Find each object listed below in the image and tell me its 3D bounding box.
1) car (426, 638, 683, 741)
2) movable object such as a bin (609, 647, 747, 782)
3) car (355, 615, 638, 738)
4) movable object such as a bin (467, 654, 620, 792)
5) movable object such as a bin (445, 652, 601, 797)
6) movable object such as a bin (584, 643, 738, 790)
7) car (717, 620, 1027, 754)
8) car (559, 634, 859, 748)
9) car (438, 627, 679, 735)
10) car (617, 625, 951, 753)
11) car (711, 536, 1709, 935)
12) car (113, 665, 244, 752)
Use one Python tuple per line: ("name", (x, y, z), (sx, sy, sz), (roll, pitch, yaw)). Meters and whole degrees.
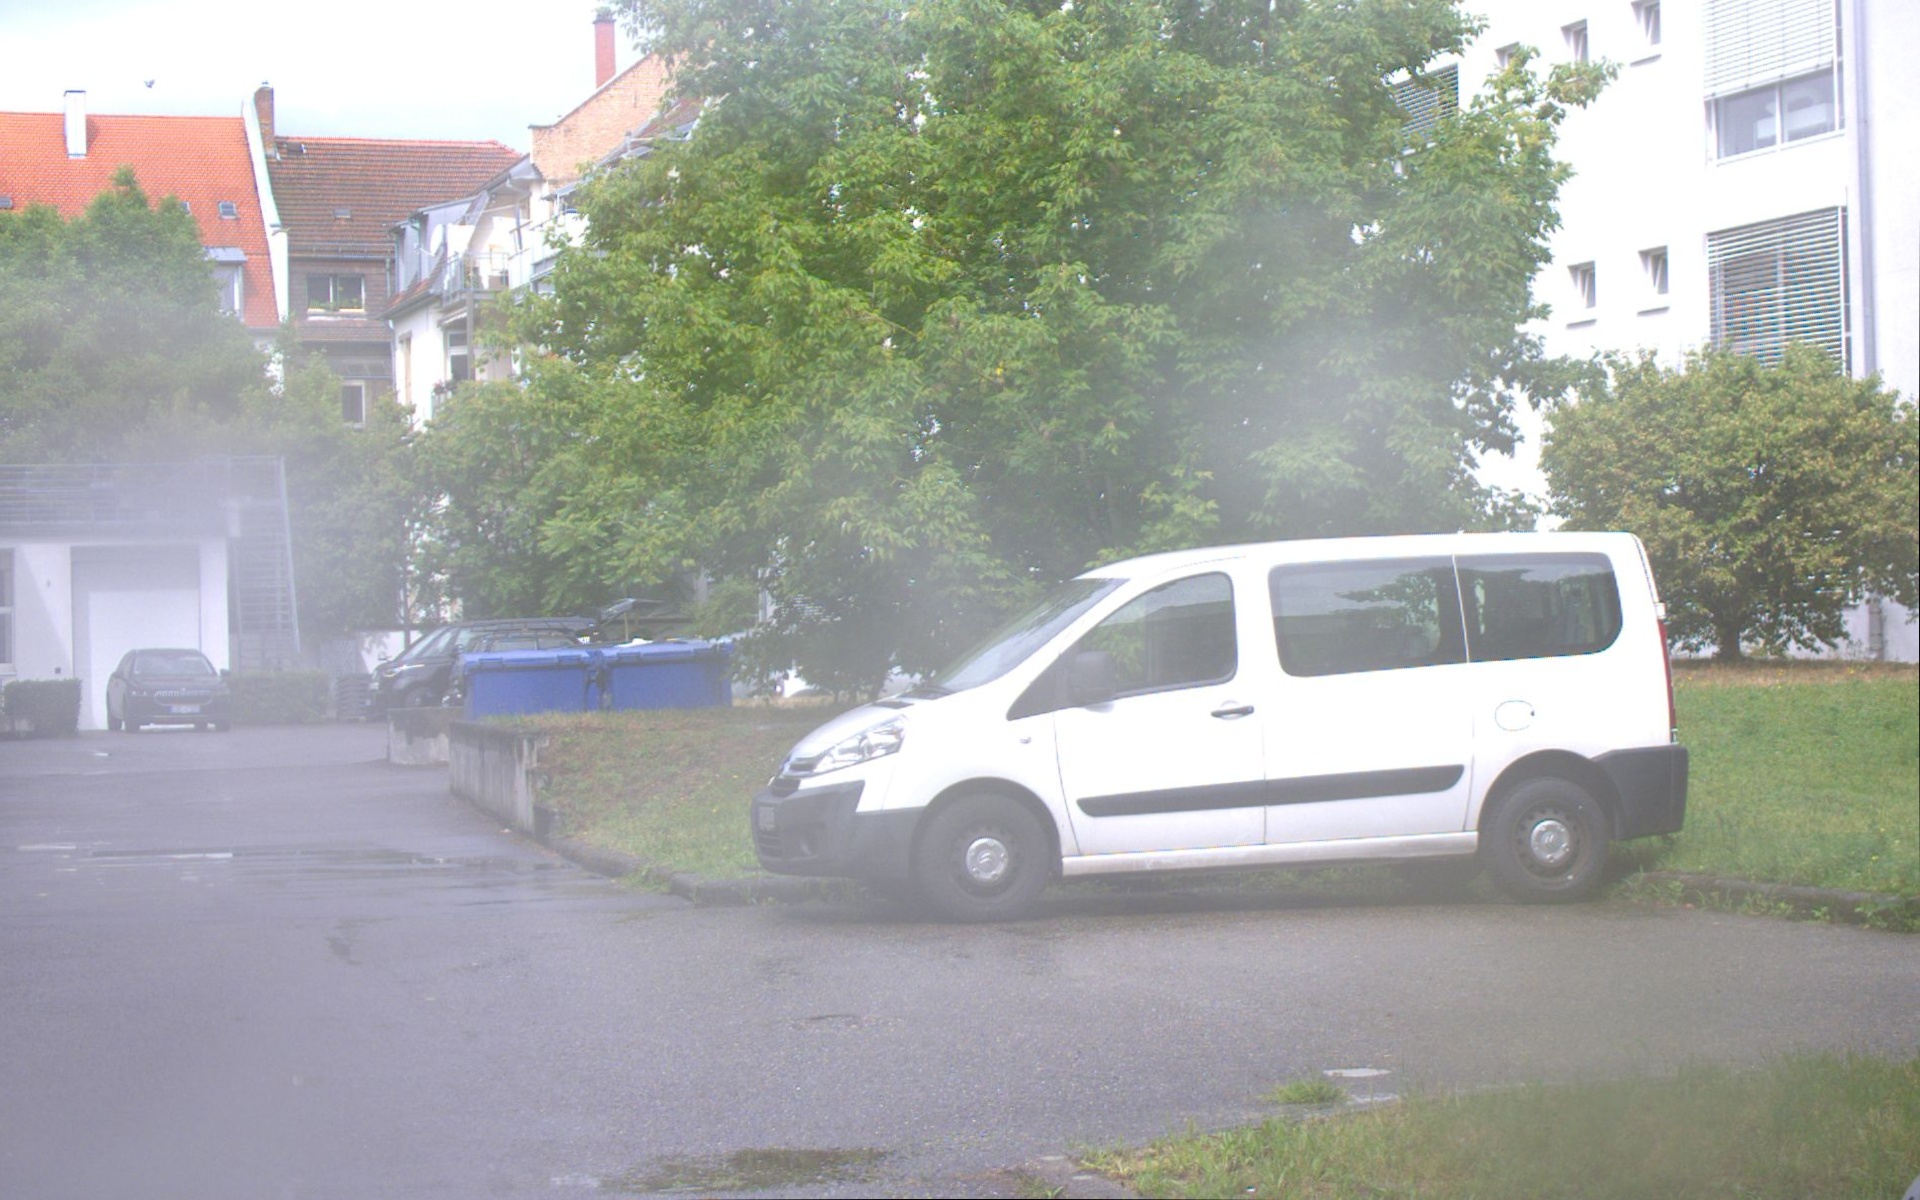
("car", (-6.781, 1.487, 57.467), (3.908, 1.508, 1.752), (-3, -1, -20))
("movable object such as a bin", (-2.884, 1.162, 35.041), (1.185, 1.300, 1.107), (-2, -1, -14))
("car", (-8.529, 1.386, 63.271), (4.634, 1.996, 2.225), (-2, 0, -25))
("movable object such as a bin", (-4.193, 1.223, 34.545), (1.371, 1.300, 1.083), (-2, -1, -13))
("movable object such as a bin", (-4.186, 1.179, 32.862), (1.337, 1.287, 1.096), (-2, 0, -12))
("movable object such as a bin", (-2.902, 1.117, 33.248), (1.292, 1.332, 1.197), (-2, -1, -12))
("car", (-1.097, 1.068, 42.365), (3.414, 1.422, 1.688), (-3, -1, -17))
("car", (-3.666, 1.310, 50.126), (3.986, 1.453, 1.773), (-2, -1, -20))
("car", (-7.110, 1.432, 60.781), (3.908, 1.682, 1.817), (-3, -1, -16))
("car", (-2.326, 1.150, 45.137), (3.986, 1.441, 1.807), (-3, 0, -18))
("car", (1.254, 0.680, 18.300), (4.872, 1.919, 2.100), (-1, -2, -12))
("car", (-13.997, 1.909, 61.429), (1.978, 1.439, 4.001), (-1, -1, -17))
